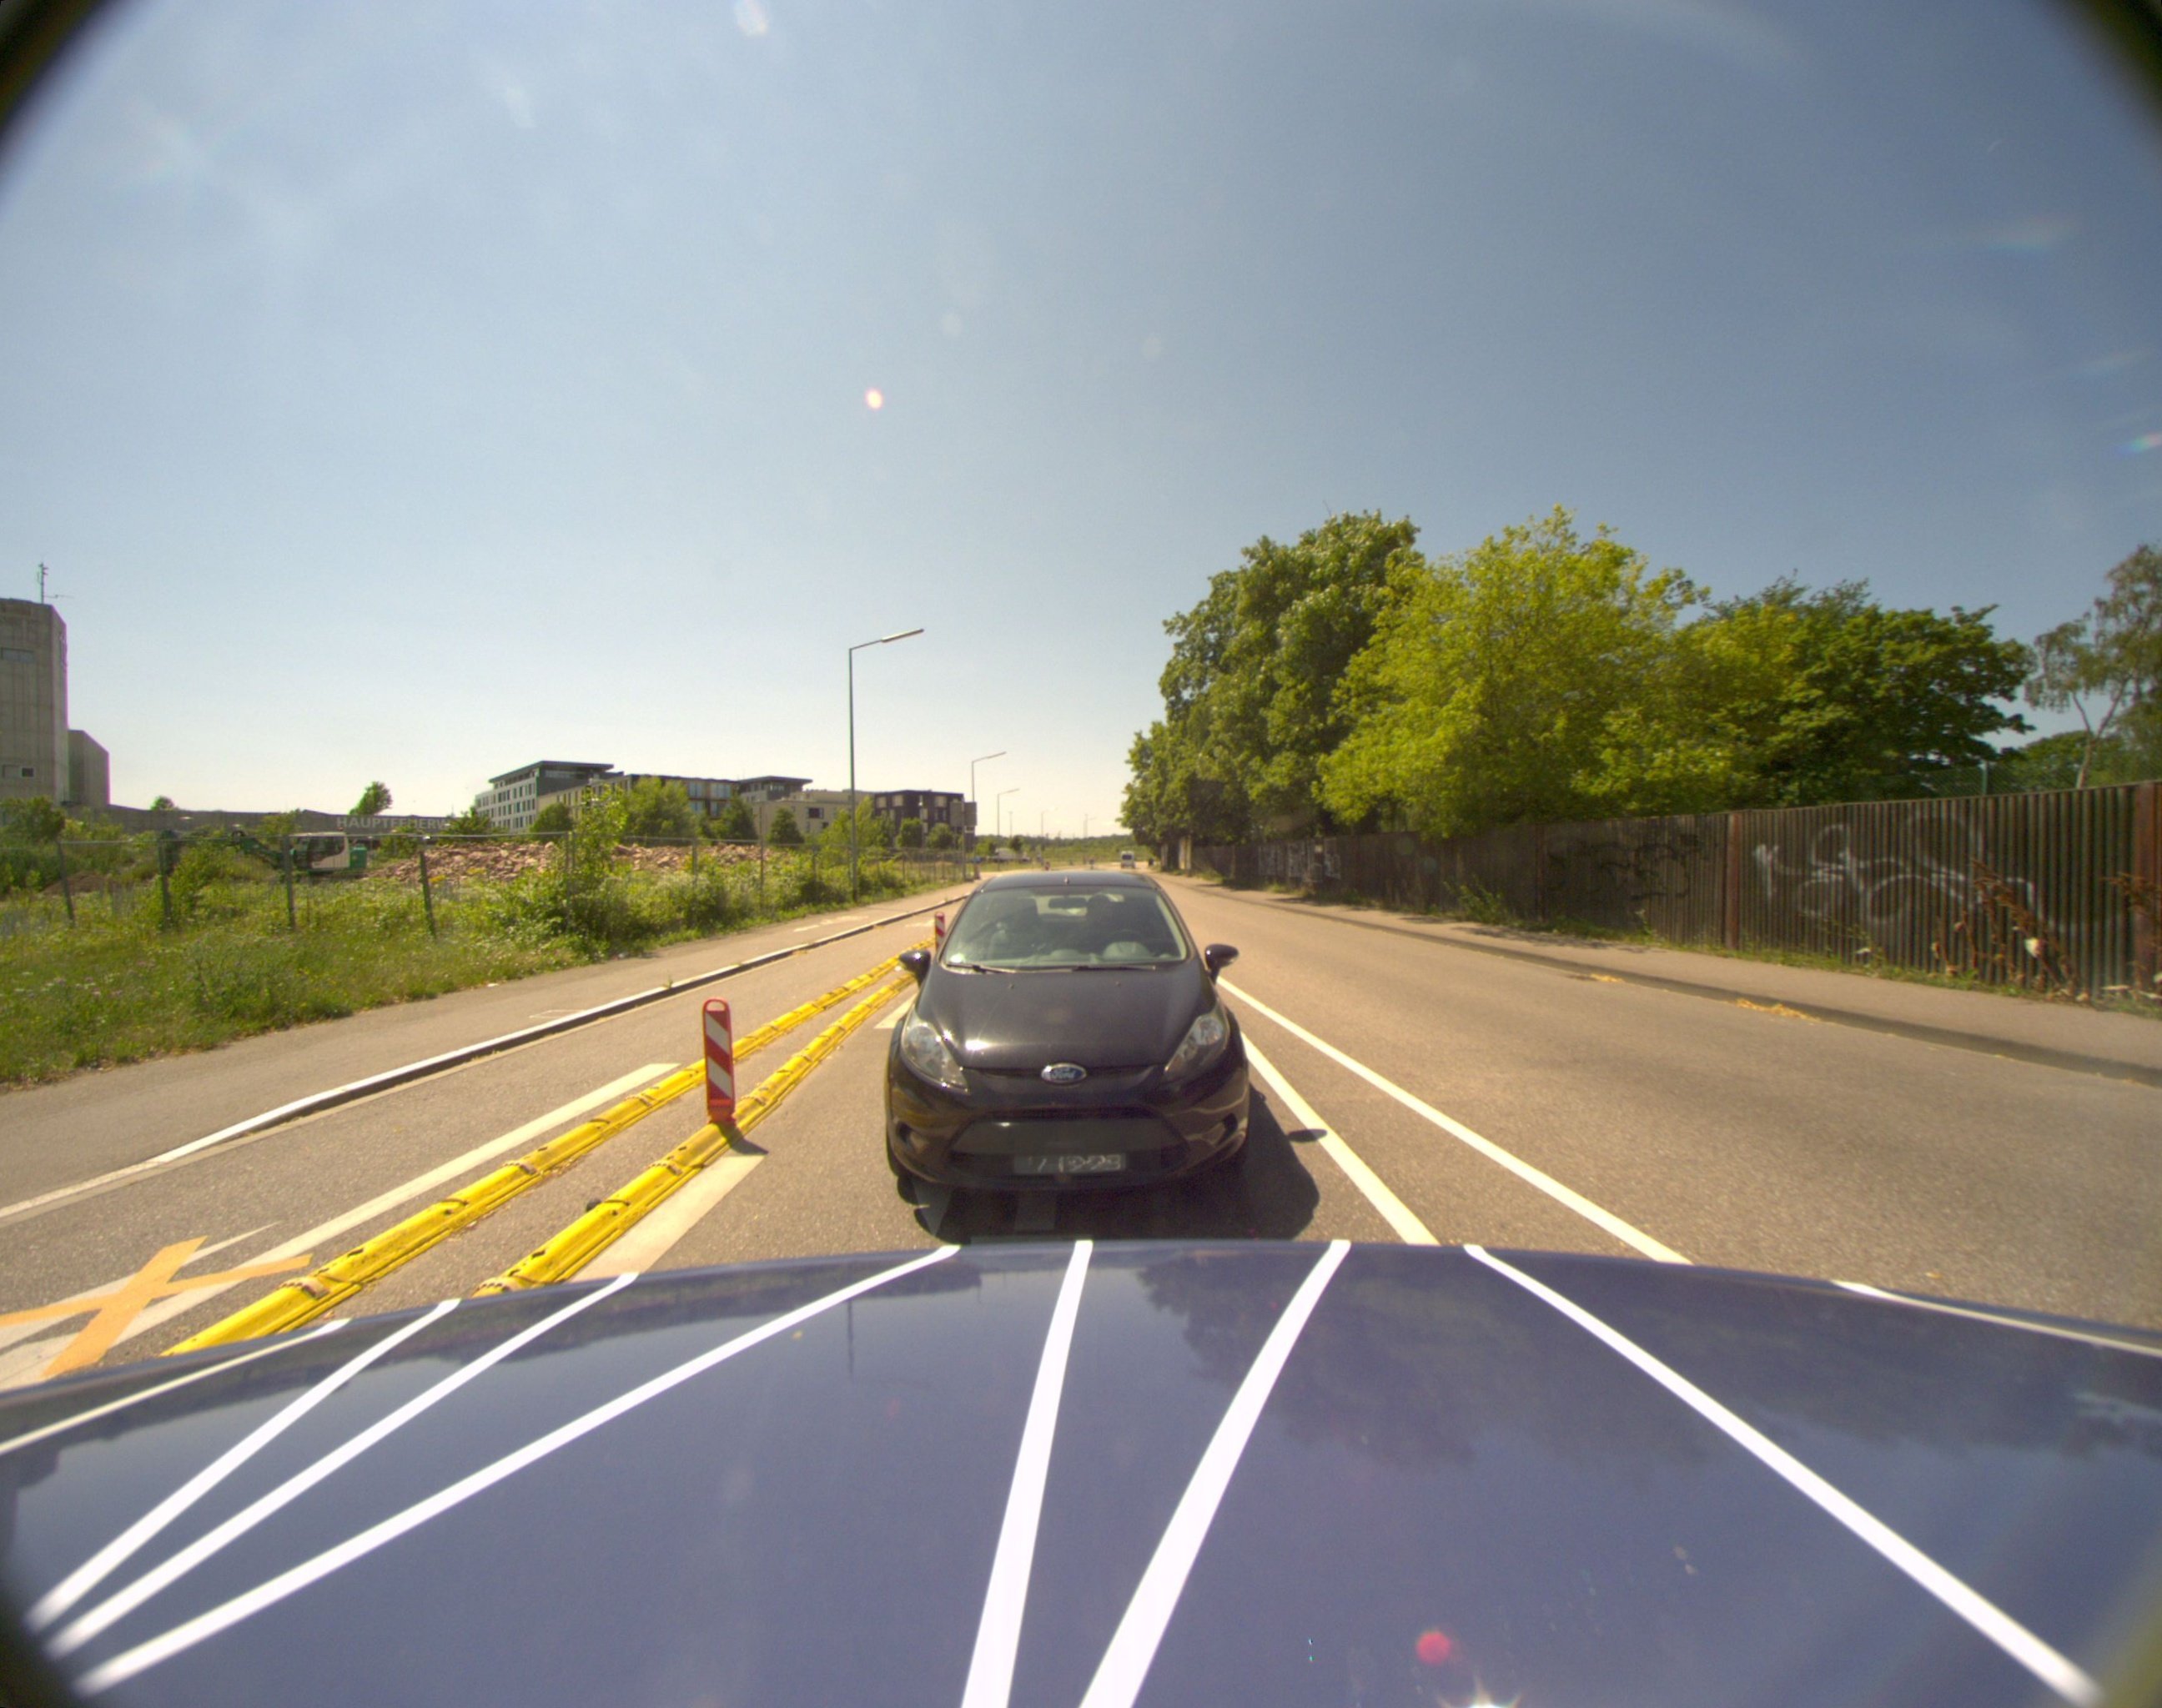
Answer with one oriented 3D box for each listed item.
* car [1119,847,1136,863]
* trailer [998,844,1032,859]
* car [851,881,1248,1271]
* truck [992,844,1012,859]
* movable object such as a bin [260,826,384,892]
[{"bbox_3d":[7.245,0.119,119.938,2.025,2.524,6.825,0,0,-2],"label":"car"},{"bbox_3d":[-15.117,-0.641,174.459,8.194,3.329,1.994,-1,0,-45],"label":"trailer"},{"bbox_3d":[-0.108,0.994,5.145,1.602,1.422,4.000,-2,0,1],"label":"car"},{"bbox_3d":[-17.874,-0.639,171.719,4.008,3.316,1.994,-1,1,-45],"label":"truck"},{"bbox_3d":[-37.633,0.233,37.800,2.204,3.045,3.690,-2,1,6],"label":"movable object such as a bin"}]
